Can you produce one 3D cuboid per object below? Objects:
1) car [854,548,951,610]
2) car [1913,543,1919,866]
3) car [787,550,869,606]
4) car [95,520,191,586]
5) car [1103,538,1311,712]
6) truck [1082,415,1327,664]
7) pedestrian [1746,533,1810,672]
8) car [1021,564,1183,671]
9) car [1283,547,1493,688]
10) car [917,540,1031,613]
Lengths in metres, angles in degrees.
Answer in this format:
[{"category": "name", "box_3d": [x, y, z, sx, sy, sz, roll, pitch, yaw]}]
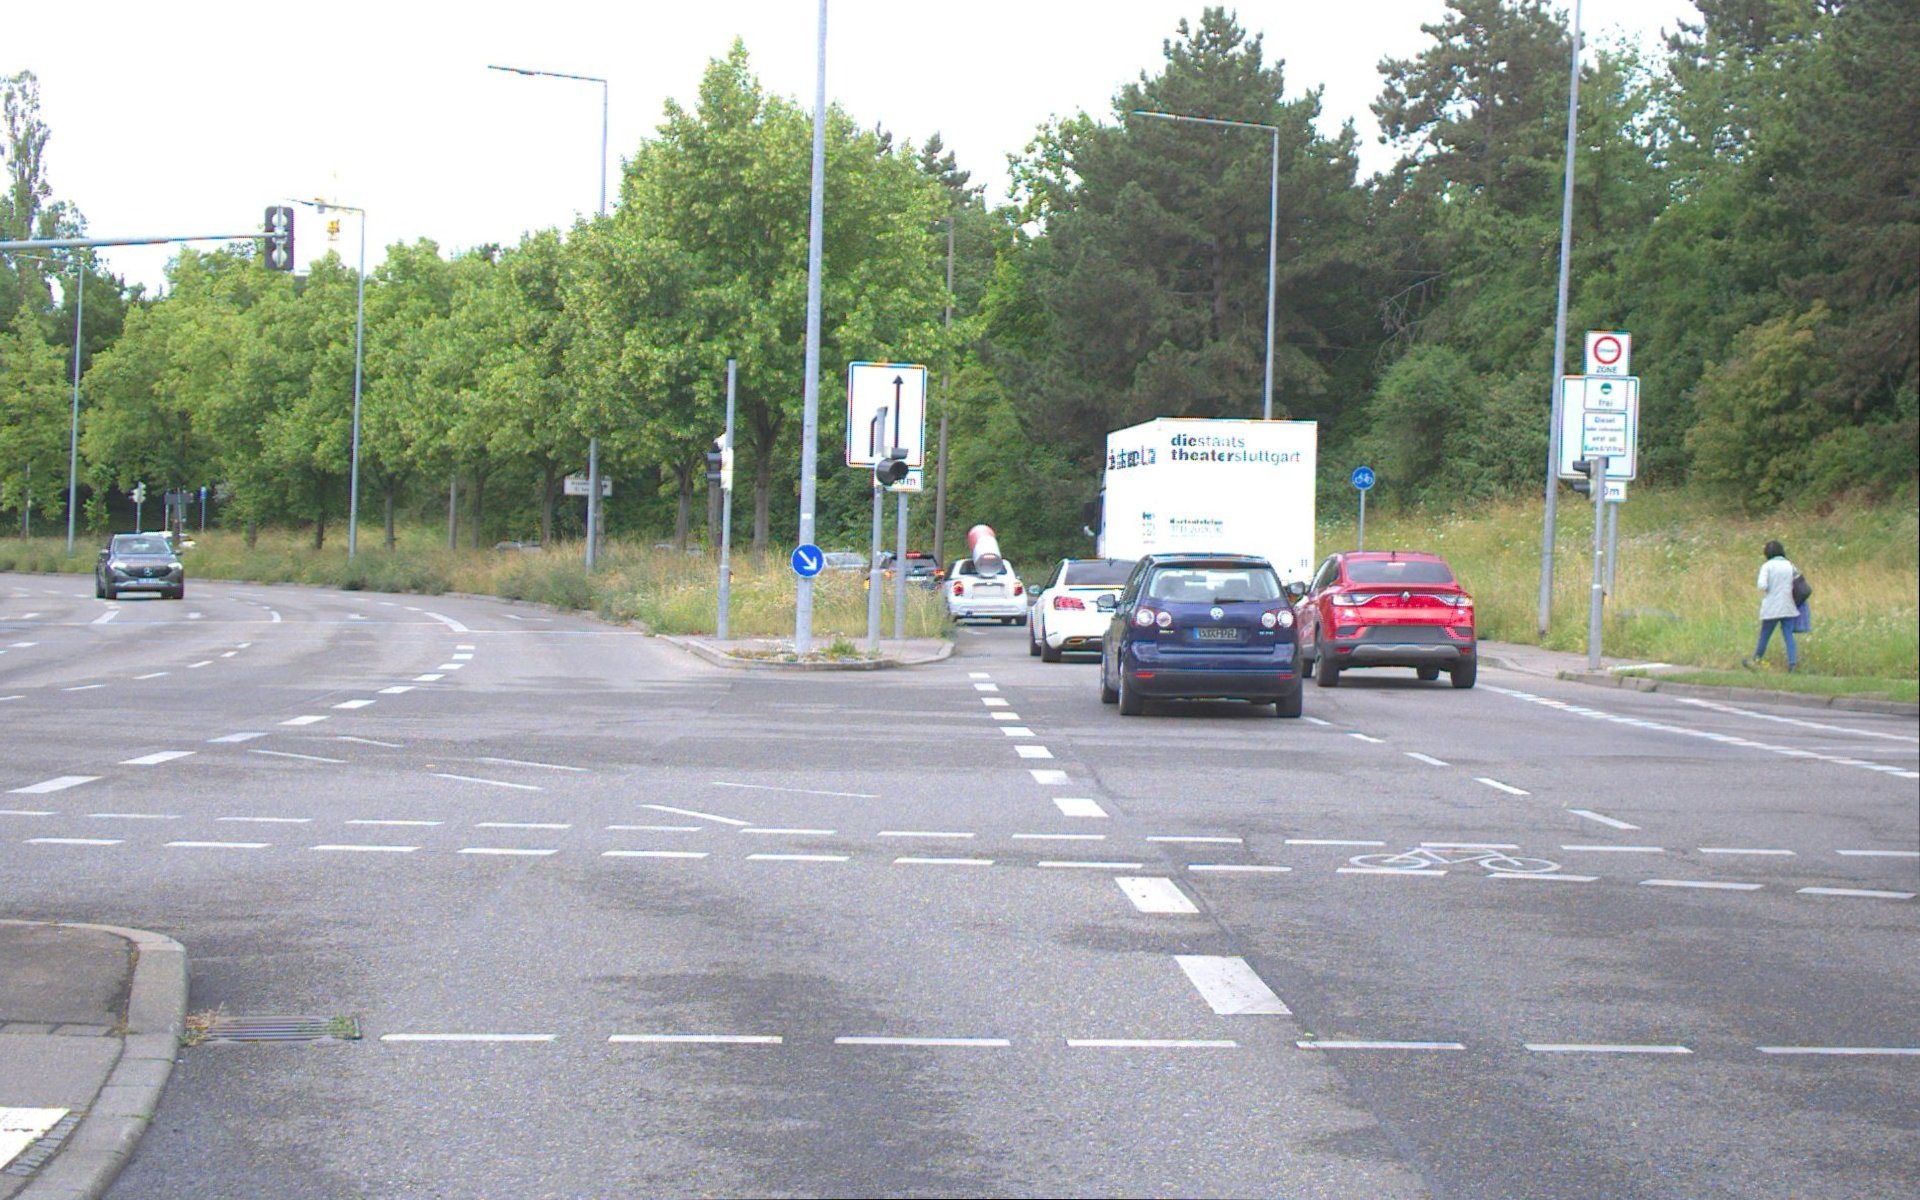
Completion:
[{"category": "car", "box_3d": [-1.468, -0.539, 86.272, 1.623, 1.488, 3.838, 1, 1, -14]}, {"category": "car", "box_3d": [5.452, 0.522, 14.215, 1.793, 1.525, 4.218, 1, 0, -1]}, {"category": "car", "box_3d": [-3.651, -0.620, 94.819, 1.583, 1.488, 3.445, 1, 1, -14]}, {"category": "car", "box_3d": [-20.144, -1.157, 84.673, 1.794, 1.582, 4.001, 1, 0, -21]}, {"category": "car", "box_3d": [2.377, 0.212, 33.895, 1.664, 1.593, 3.997, 1, 0, -1]}, {"category": "truck", "box_3d": [4.043, -1.082, 59.374, 2.802, 3.890, 10.184, 1, 1, -4]}, {"category": "pedestrian", "box_3d": [9.843, 0.026, 41.398, 0.644, 1.656, 0.713, 1, 0, 6]}, {"category": "car", "box_3d": [1.946, 0.216, 48.253, 1.799, 1.407, 4.318, 1, 0, -4]}, {"category": "car", "box_3d": [4.977, 0.161, 40.515, 1.847, 1.525, 4.377, 1, 1, -1]}, {"category": "car", "box_3d": [0.266, -0.502, 73.623, 1.820, 1.501, 3.495, 1, 0, -10]}]
